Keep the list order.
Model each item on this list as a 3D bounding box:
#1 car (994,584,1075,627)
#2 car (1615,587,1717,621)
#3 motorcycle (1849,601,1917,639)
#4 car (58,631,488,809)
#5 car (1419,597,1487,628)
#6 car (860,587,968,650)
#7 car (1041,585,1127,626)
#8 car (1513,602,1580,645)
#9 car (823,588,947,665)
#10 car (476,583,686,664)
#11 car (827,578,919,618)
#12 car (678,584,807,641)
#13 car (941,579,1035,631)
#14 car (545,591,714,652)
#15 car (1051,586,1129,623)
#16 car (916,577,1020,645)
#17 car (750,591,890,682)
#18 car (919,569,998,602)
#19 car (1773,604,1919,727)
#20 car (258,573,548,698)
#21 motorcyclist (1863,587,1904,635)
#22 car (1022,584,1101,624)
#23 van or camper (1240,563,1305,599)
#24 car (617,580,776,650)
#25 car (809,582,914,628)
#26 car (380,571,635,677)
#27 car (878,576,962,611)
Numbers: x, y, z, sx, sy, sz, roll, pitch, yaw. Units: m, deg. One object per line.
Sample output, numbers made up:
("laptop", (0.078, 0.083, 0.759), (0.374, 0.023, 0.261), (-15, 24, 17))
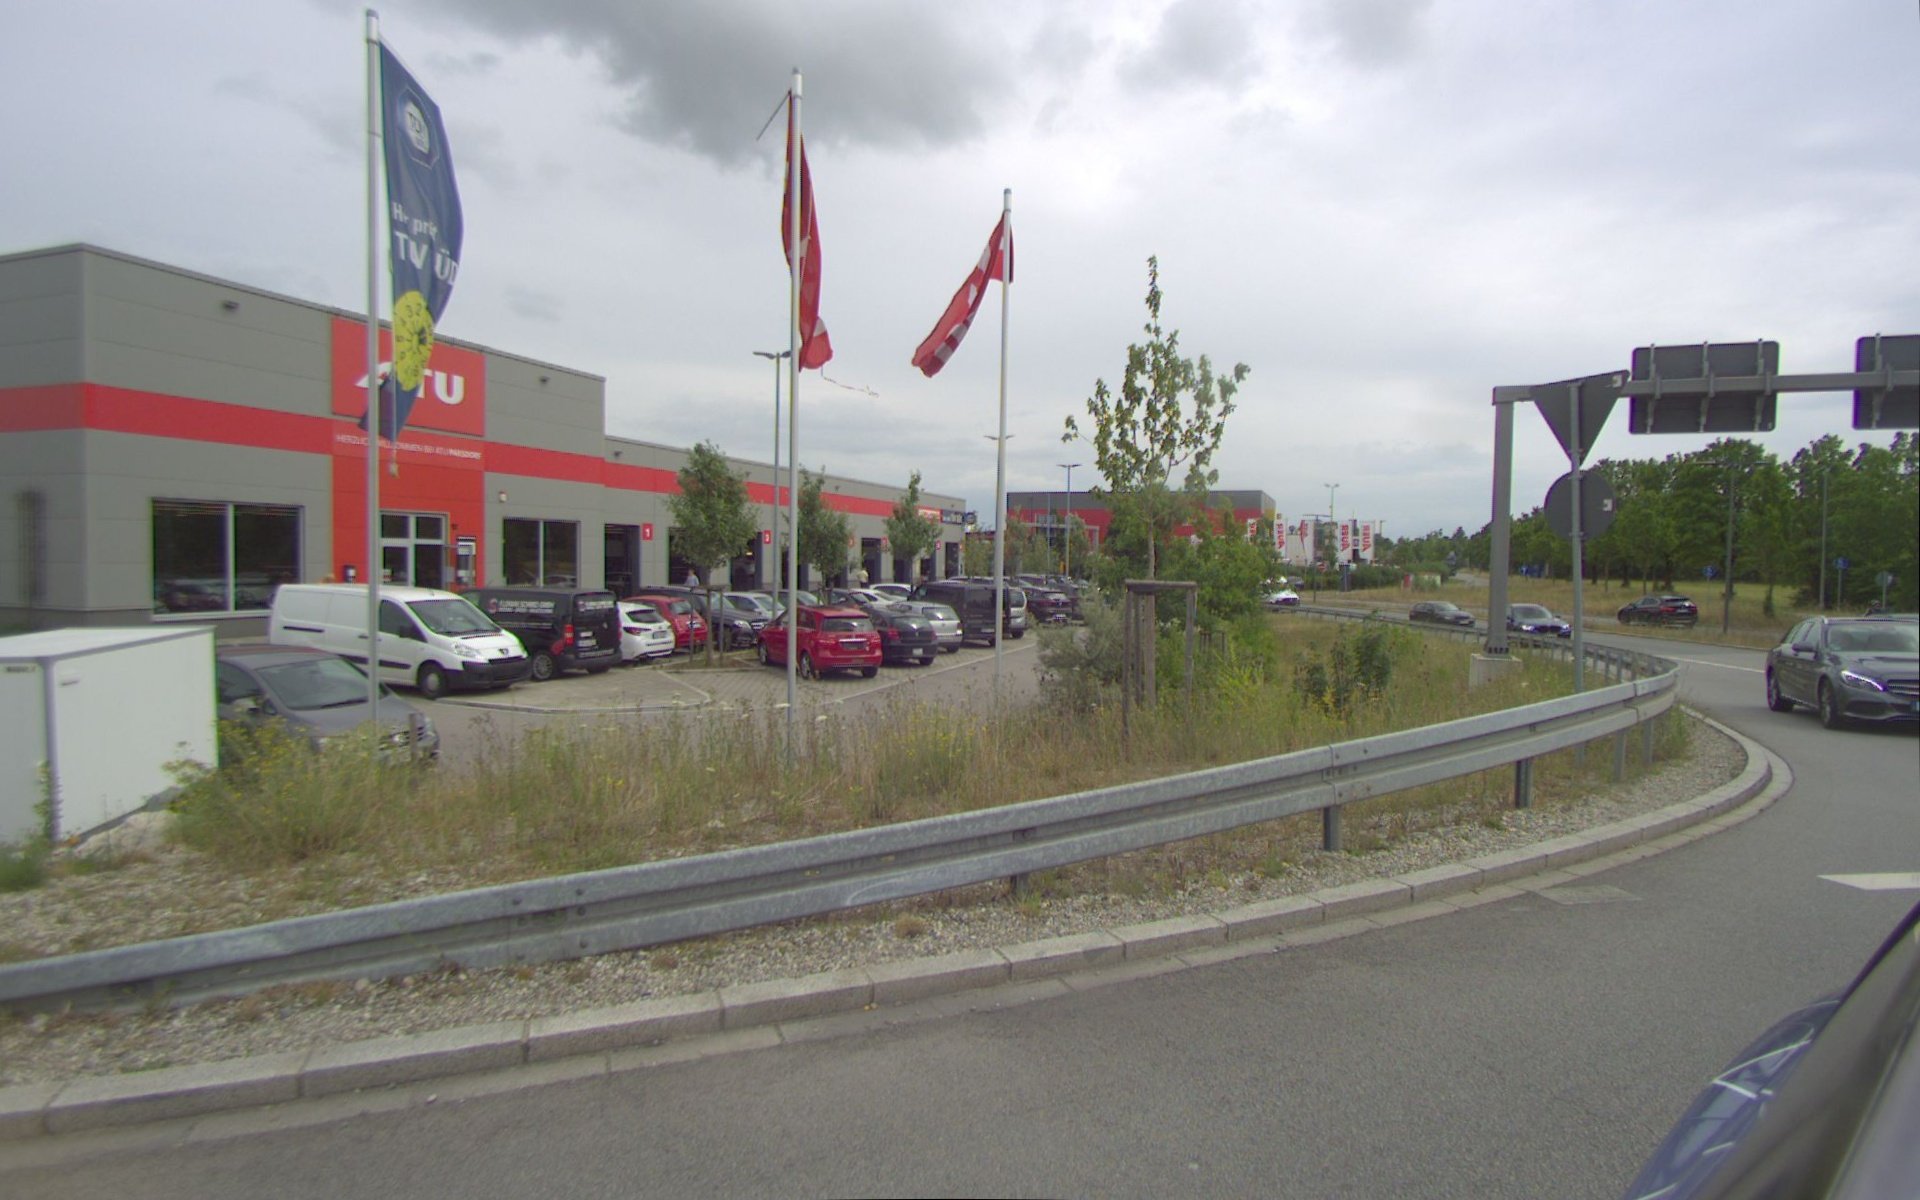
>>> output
("car", (3.018, 0.211, 41.895), (1.616, 1.643, 4.085), (1, 0, -23))
("car", (34.521, 0.157, 49.642), (1.856, 1.485, 4.284), (-1, 2, -2))
("motorcycle", (31.741, 0.666, 34.852), (0.693, 1.245, 2.240), (1, 0, 12))
("car", (-8.563, 1.362, 12.688), (4.770, 1.696, 1.955), (1, 2, 18))
("car", (25.777, 0.639, 53.040), (1.827, 1.429, 3.937), (-1, 2, 3))
("car", (-1.462, 0.506, 30.489), (1.734, 1.599, 4.086), (1, 3, -26))
("car", (5.792, 0.222, 47.596), (1.793, 1.642, 4.082), (1, 2, -32))
("car", (23.382, 0.892, 40.485), (1.841, 1.429, 4.522), (0, 2, 24))
("car", (-2.094, 0.637, 27.052), (1.735, 1.598, 4.085), (1, 4, -29))
("car", (-9.217, 0.499, 24.686), (4.613, 1.661, 1.905), (2, 2, 18))
("car", (-3.756, -0.127, 43.778), (3.649, 1.658, 1.582), (1, 1, 18))
("car", (-6.747, 0.354, 31.512), (3.649, 1.658, 1.582), (0, 1, 18))
("car", (0.940, 0.129, 36.573), (1.866, 1.733, 4.086), (0, 1, -23))
("car", (-8.814, 0.563, 27.052), (4.144, 1.518, 1.582), (-1, 1, 18))
("car", (6.558, 0.210, 51.371), (1.702, 1.642, 4.082), (1, 3, -32))
("car", (0.188, 0.314, 33.072), (1.866, 1.931, 4.087), (1, 3, -23))
("car", (-3.427, 0.773, 24.157), (1.737, 1.598, 4.083), (-2, 6, -33))
("car", (-0.058, -0.720, 50.879), (3.649, 1.564, 1.582), (-1, 1, 18))
("car", (12.453, 0.812, 13.547), (1.750, 1.438, 4.048), (1, -1, 29))
("car", (-10.656, 0.576, 19.421), (5.010, 2.072, 1.990), (2, 2, 18))
("motorcyclist", (31.714, 0.368, 34.768), (0.664, 1.596, 0.843), (1, 0, 12))
("car", (4.402, 0.161, 44.391), (1.700, 1.643, 4.085), (1, 0, -23))
("van or camper", (22.291, -1.406, 72.473), (2.011, 2.393, 5.553), (-1, 2, -11))
("car", (-7.450, 0.413, 28.665), (4.144, 1.859, 1.582), (-1, 1, 18))
("car", (-3.712, 0.166, 38.318), (3.649, 1.658, 1.582), (0, 1, 18))
("car", (-9.781, 0.431, 21.916), (5.010, 1.997, 1.990), (2, 2, 18))
("car", (-1.866, -0.318, 47.209), (3.649, 1.564, 1.582), (1, 1, 18))
